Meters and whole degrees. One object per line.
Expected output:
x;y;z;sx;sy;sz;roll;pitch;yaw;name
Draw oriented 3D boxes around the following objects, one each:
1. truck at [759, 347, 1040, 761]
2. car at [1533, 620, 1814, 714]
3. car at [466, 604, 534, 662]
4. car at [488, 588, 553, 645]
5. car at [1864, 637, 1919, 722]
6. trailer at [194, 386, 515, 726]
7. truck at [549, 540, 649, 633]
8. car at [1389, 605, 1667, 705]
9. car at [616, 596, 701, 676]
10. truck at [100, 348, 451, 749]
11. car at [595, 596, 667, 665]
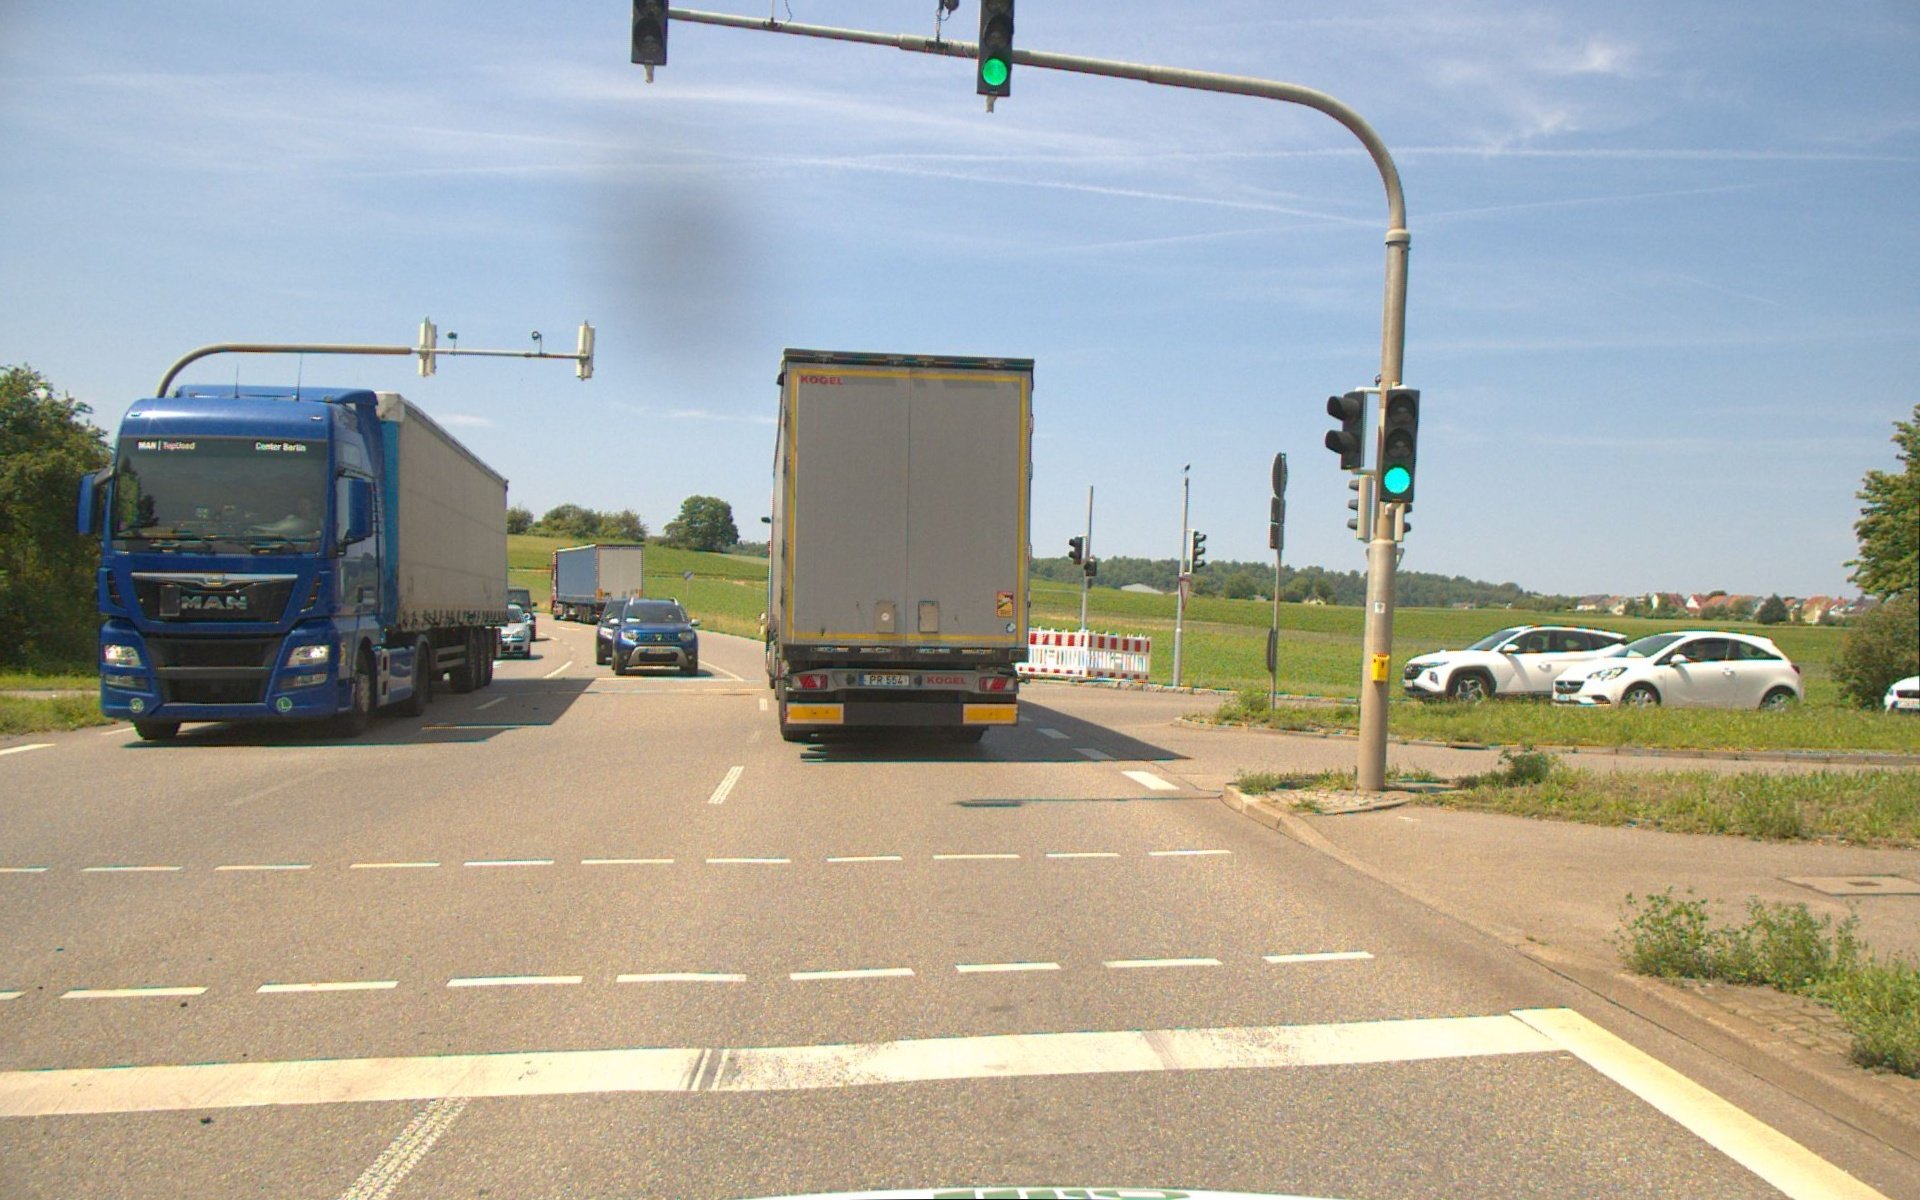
-1.115;-0.419;20.981;2.754;4.015;9.576;0;0;-7;truck
11.694;1.101;27.241;3.885;1.444;1.824;1;-2;-8;car
-12.796;0.900;45.997;1.742;1.522;3.982;0;-1;-16;car
-16.727;0.632;62.753;1.964;2.041;5.134;1;-1;-20;car
18.179;1.416;29.042;4.029;1.444;1.791;1;-2;-18;car
-9.159;-0.528;26.868;2.520;4.100;13.561;1;0;-10;trailer
-20.207;-0.652;91.532;2.919;4.664;16.211;1;-1;-21;truck
10.675;1.049;31.265;4.535;1.635;1.997;2;-2;-4;car
-6.775;0.788;36.951;1.740;1.687;3.988;1;-1;-12;car
-8.065;-0.521;20.376;2.519;4.100;6.545;0;0;-9;truck
-8.571;0.784;43.192;1.739;1.687;3.989;1;-1;-11;car
